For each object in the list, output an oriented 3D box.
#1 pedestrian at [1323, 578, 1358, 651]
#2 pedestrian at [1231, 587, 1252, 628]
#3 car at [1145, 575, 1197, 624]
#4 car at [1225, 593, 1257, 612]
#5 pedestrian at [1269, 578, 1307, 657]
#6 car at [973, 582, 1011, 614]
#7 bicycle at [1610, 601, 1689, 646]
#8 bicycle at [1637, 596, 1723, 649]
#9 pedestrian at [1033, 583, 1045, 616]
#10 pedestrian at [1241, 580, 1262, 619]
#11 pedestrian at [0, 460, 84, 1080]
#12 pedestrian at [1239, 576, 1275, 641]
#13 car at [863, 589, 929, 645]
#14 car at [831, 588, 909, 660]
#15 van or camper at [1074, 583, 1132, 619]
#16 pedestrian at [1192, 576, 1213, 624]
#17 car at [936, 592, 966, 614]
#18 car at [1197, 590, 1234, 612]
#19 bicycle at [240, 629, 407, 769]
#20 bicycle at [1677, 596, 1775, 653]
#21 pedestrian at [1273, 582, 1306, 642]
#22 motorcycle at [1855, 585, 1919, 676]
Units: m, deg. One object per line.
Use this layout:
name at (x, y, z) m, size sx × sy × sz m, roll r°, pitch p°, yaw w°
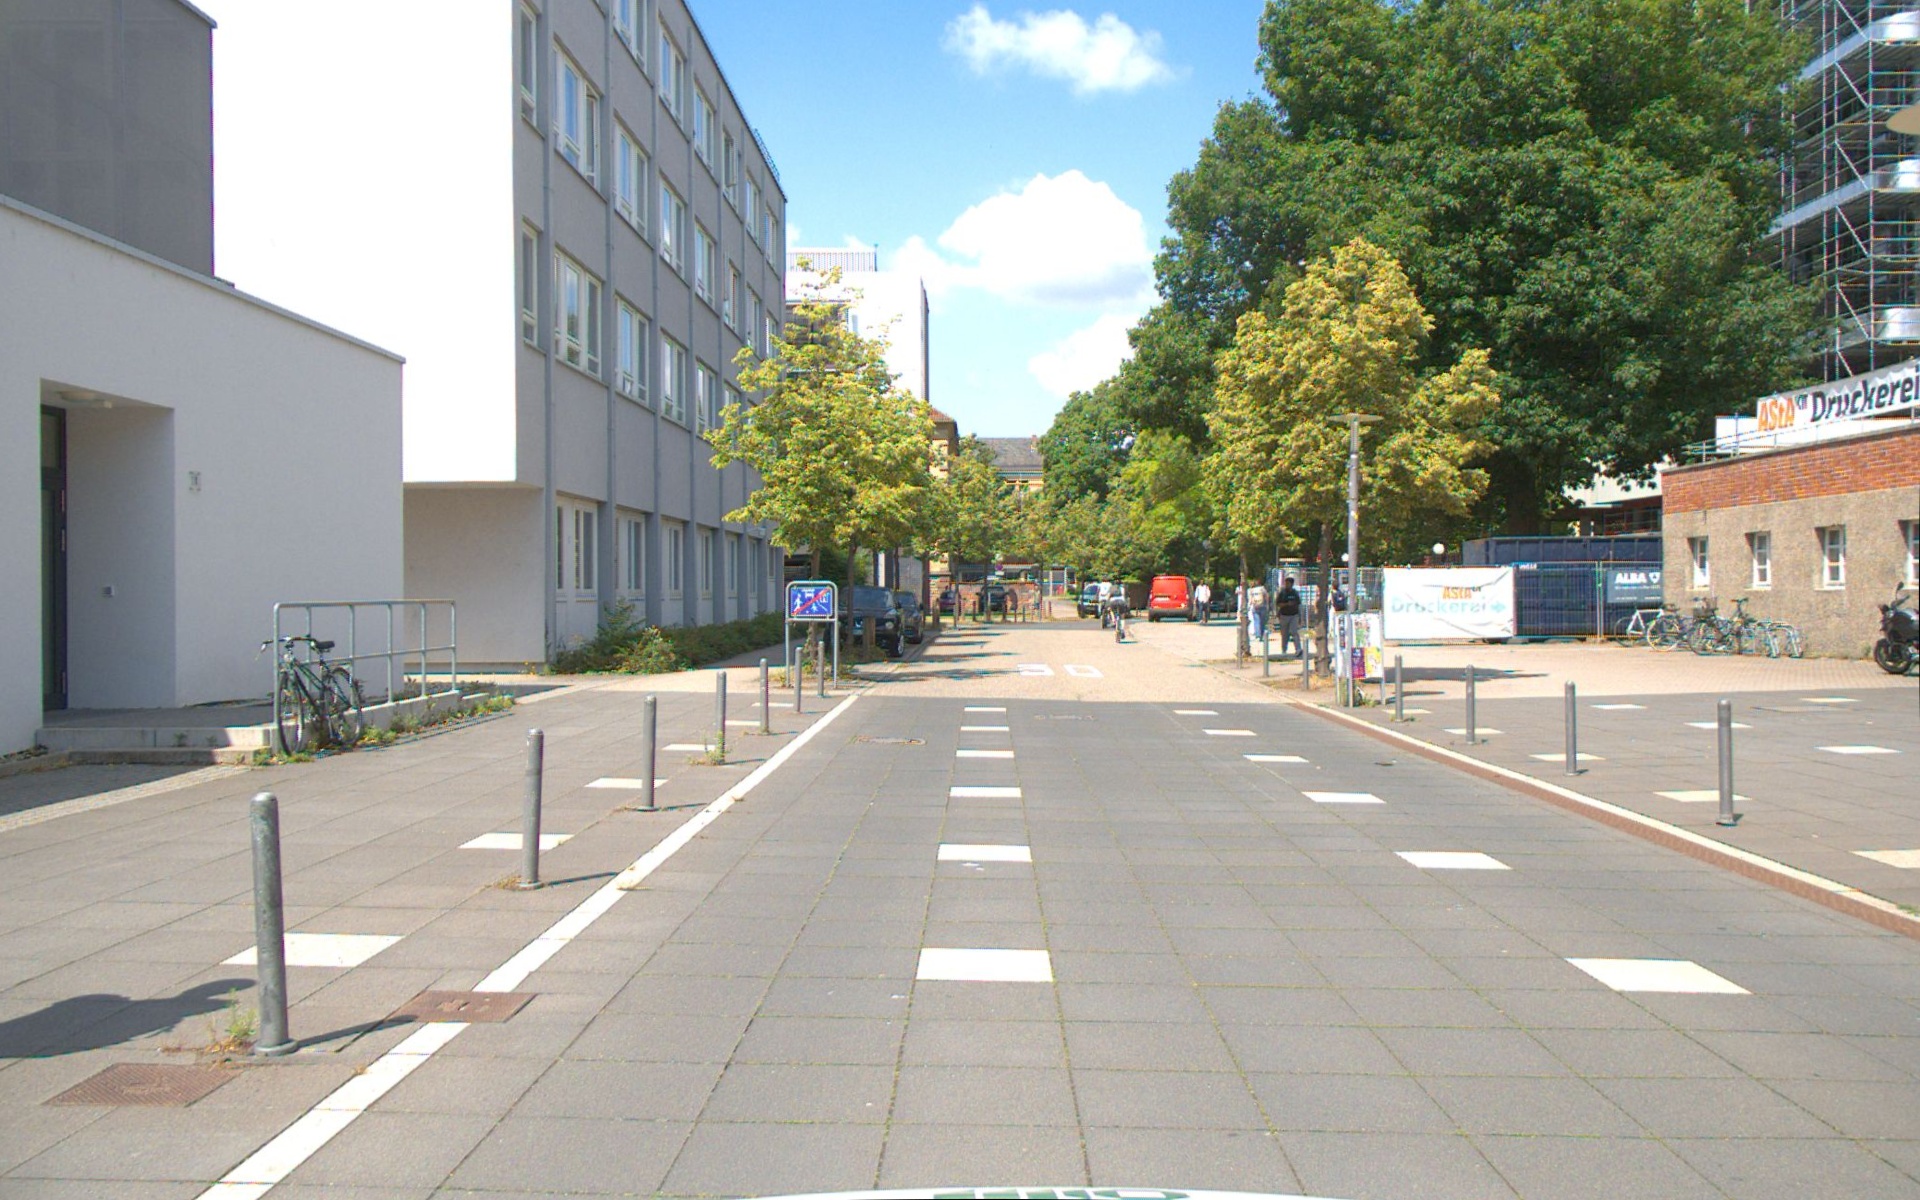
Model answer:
pedestrian at (9.025, 0.343, 39.233) m, size 0.636 × 1.695 × 0.905 m, roll -1°, pitch 0°, yaw 2°
pedestrian at (12.749, 0.345, 74.903) m, size 0.715 × 1.853 × 0.622 m, roll 0°, pitch 0°, yaw -35°
car at (8.675, -0.044, 67.790) m, size 1.809 × 1.924 × 4.895 m, roll -1°, pitch 0°, yaw 11°
car at (21.443, 0.160, 126.113) m, size 1.582 × 1.412 × 4.000 m, roll 0°, pitch 0°, yaw 21°
pedestrian at (7.296, 0.381, 36.804) m, size 0.629 × 1.726 × 0.792 m, roll 0°, pitch 0°, yaw -4°
car at (1.971, -0.131, 102.777) m, size 2.131 × 1.959 × 5.185 m, roll 0°, pitch 0°, yaw -1°
bicycle at (15.928, 0.542, 38.210) m, size 1.637 × 1.021 × 0.448 m, roll -1°, pitch 0°, yaw 1°
bicycle at (15.601, 0.488, 35.859) m, size 1.666 × 1.129 × 0.448 m, roll -1°, pitch 0°, yaw 1°
pedestrian at (4.342, -0.009, 90.930) m, size 0.571 × 1.795 × 0.912 m, roll -1°, pitch 0°, yaw 7°
pedestrian at (12.980, -0.014, 73.652) m, size 0.737 × 1.740 × 0.557 m, roll 0°, pitch 0°, yaw -35°
pedestrian at (-3.267, 0.510, 4.868) m, size 0.807 × 1.849 × 1.143 m, roll 0°, pitch 0°, yaw -4°
pedestrian at (8.305, 0.231, 46.234) m, size 0.833 × 1.795 × 0.715 m, roll -1°, pitch 0°, yaw -2°
car at (-1.788, 0.444, 47.083) m, size 1.742 × 1.486 × 4.258 m, roll 1°, pitch 0°, yaw -1°
car at (-2.071, 0.512, 38.963) m, size 1.662 × 1.591 × 4.067 m, roll 0°, pitch 0°, yaw -1°
van or camper at (8.224, 0.057, 94.438) m, size 1.913 × 1.957 × 5.421 m, roll 1°, pitch 0°, yaw 21°
pedestrian at (9.289, -0.011, 63.310) m, size 0.680 × 1.812 × 0.787 m, roll -1°, pitch 0°, yaw 15°
car at (-0.556, 0.195, 102.774) m, size 1.780 × 1.347 × 3.767 m, roll 0°, pitch 0°, yaw 0°
car at (18.414, 0.074, 119.102) m, size 1.724 × 1.548 × 4.111 m, roll 0°, pitch 0°, yaw 21°
bicycle at (-5.445, 0.815, 14.267) m, size 0.532 × 1.080 × 1.900 m, roll 0°, pitch 0°, yaw 6°
bicycle at (15.645, 0.493, 33.800) m, size 1.768 × 1.129 × 0.448 m, roll -1°, pitch 0°, yaw 1°
pedestrian at (9.149, 0.331, 45.953) m, size 0.655 × 1.628 × 0.984 m, roll -1°, pitch 0°, yaw -3°
motorcycle at (14.597, 0.442, 25.330) m, size 0.681 × 1.346 × 2.221 m, roll -1°, pitch 0°, yaw 3°
